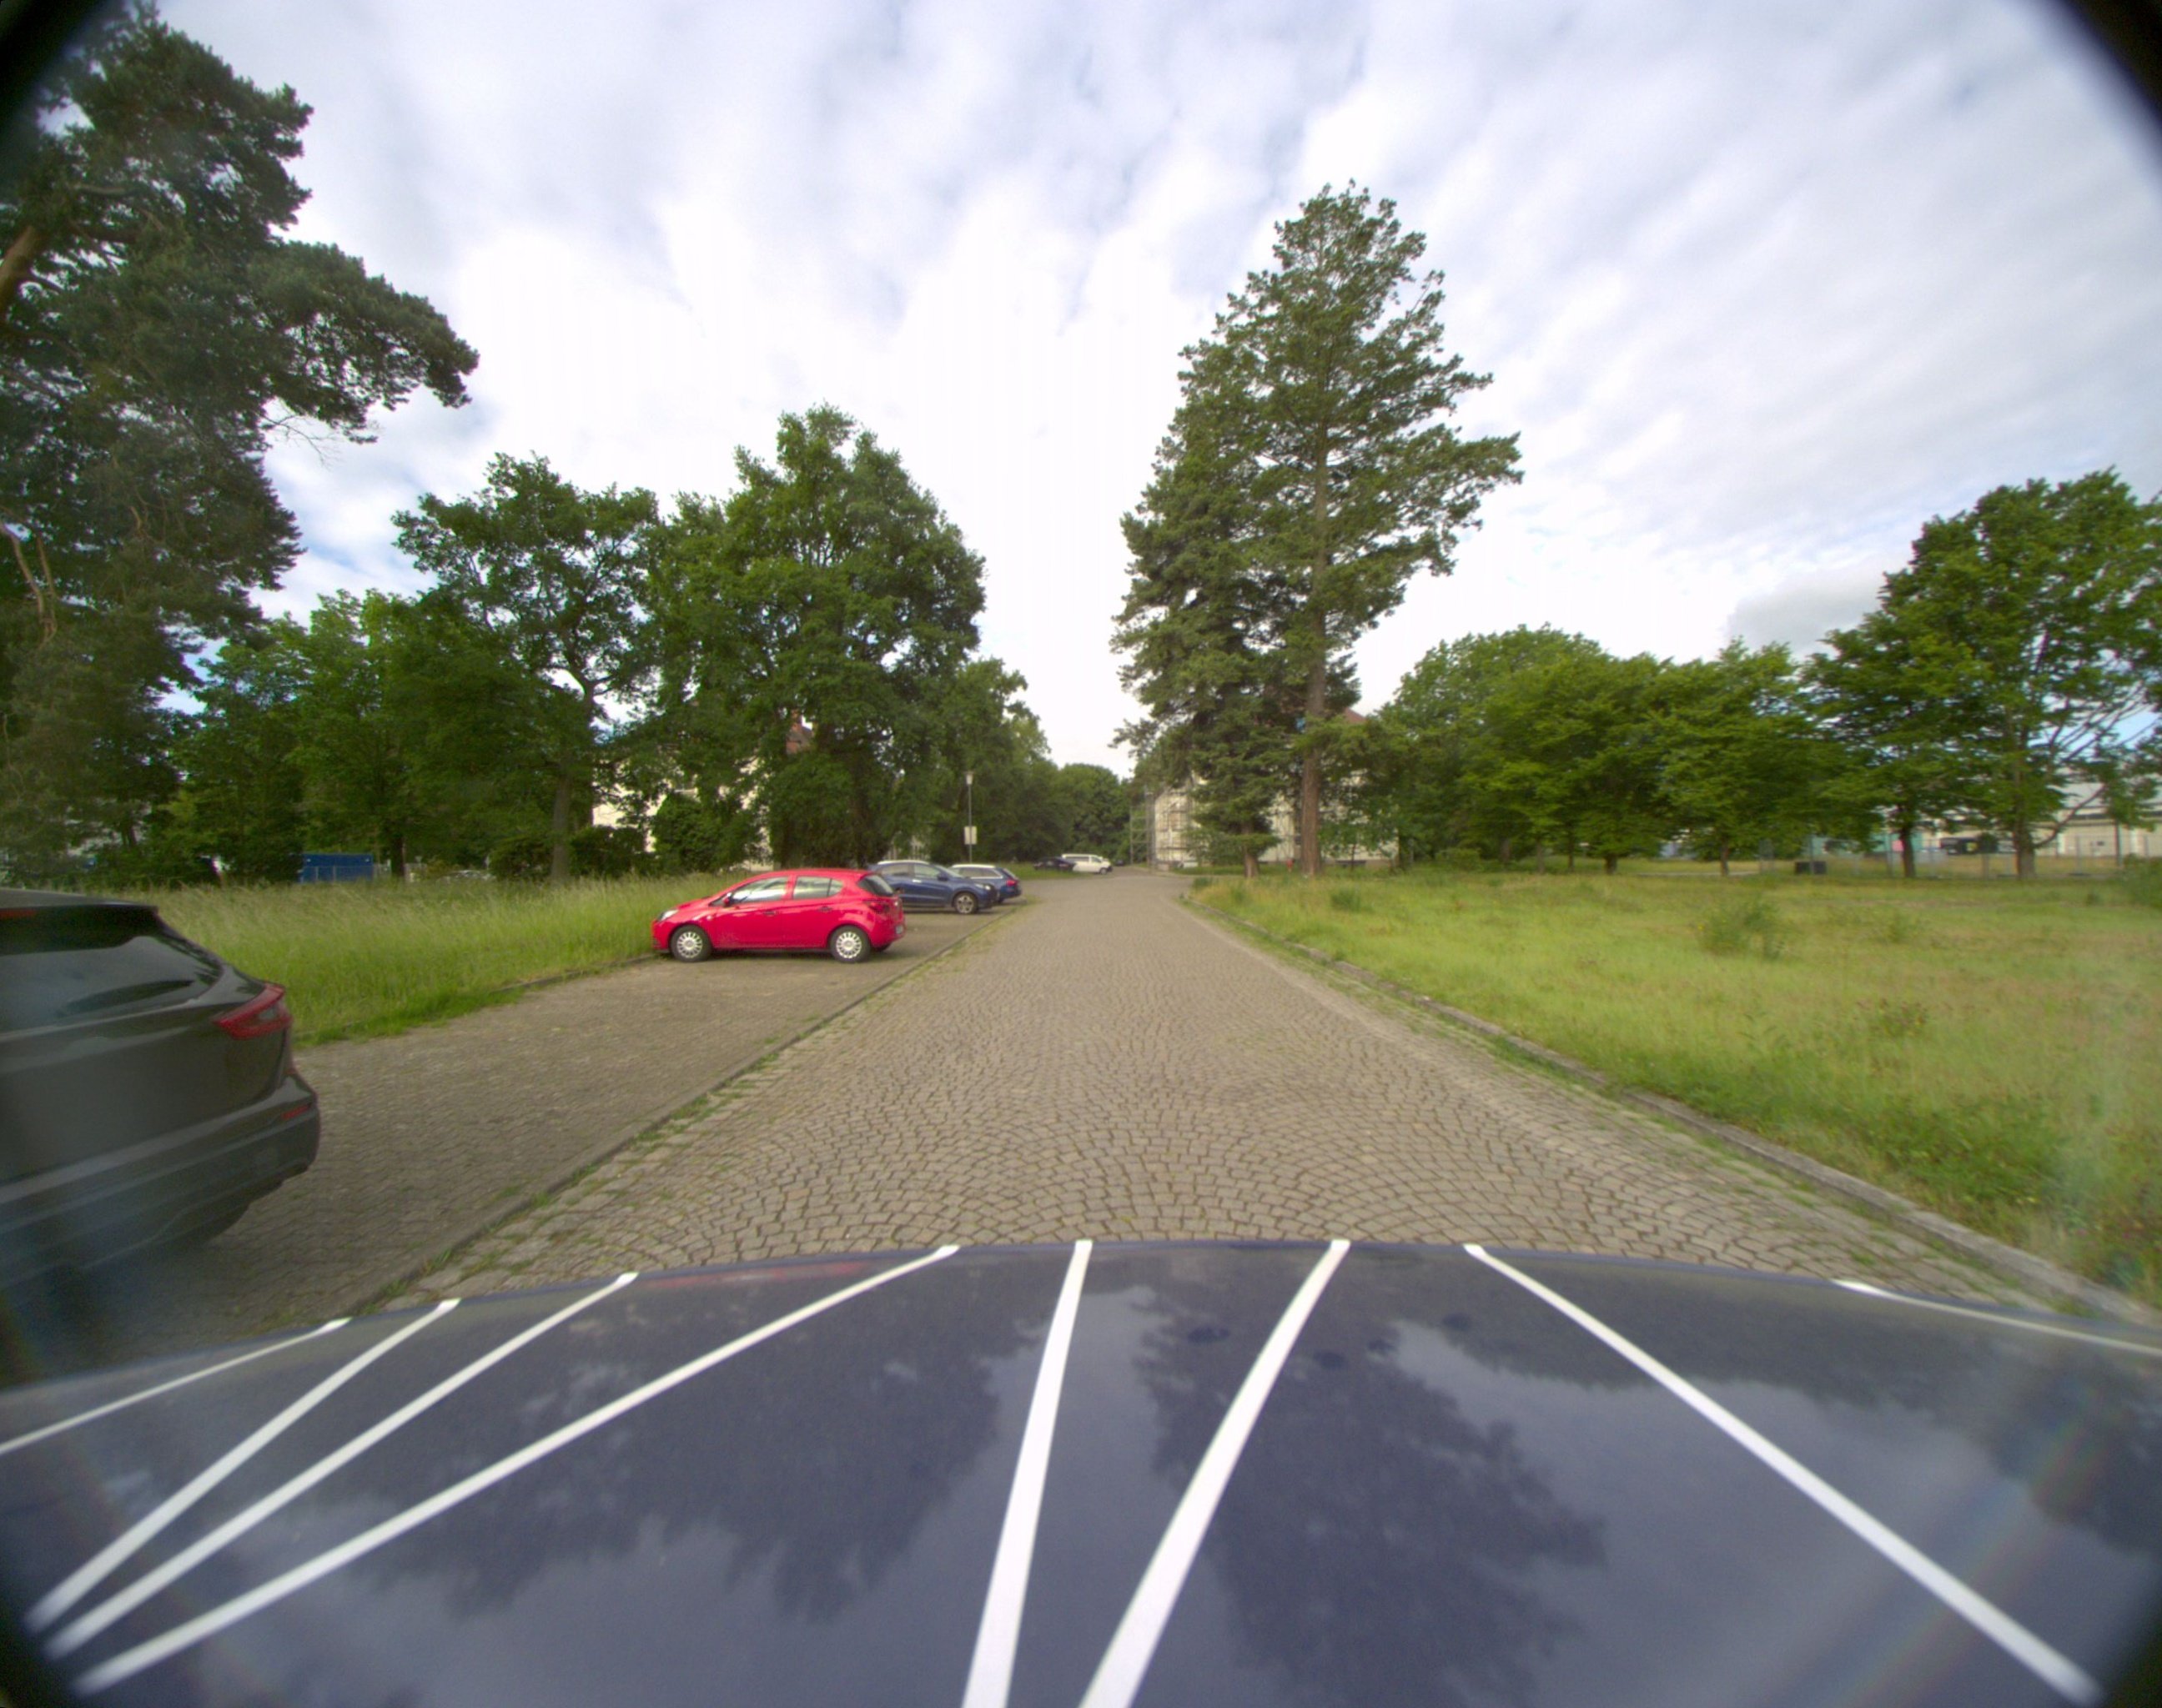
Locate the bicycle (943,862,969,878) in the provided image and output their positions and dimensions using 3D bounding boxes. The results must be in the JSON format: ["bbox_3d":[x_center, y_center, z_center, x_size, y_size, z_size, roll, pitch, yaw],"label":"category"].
[{"bbox_3d":[-9.947,1.292,60.643,1.941,1.163,0.487,-3,1,-21],"label":"bicycle"}]

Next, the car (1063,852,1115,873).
[{"bbox_3d":[0.809,0.819,76.382,5.149,2.002,2.000,0,1,1],"label":"car"}]

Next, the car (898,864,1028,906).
[{"bbox_3d":[-4.223,1.103,27.673,4.367,1.430,1.927,0,0,3],"label":"car"}]

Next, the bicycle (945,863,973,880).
[{"bbox_3d":[-8.997,1.276,56.164,1.942,1.163,0.487,-3,1,-26],"label":"bicycle"}]

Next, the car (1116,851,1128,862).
[{"bbox_3d":[7.727,0.500,142.668,1.962,2.002,4.260,0,0,0],"label":"car"}]

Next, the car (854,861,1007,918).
[{"bbox_3d":[-4.448,1.031,22.934,4.255,1.613,1.886,0,0,0],"label":"car"}]

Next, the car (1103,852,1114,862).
[{"bbox_3d":[5.186,0.547,142.481,1.962,2.002,4.260,0,0,0],"label":"car"}]

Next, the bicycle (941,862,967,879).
[{"bbox_3d":[-10.031,1.299,60.031,1.941,1.163,0.487,-3,1,-21],"label":"bicycle"}]

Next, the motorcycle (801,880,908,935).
[{"bbox_3d":[-5.079,1.190,17.138,2.236,1.195,0.568,0,0,-1],"label":"motorcycle"}]

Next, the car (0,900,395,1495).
[{"bbox_3d":[-5.124,0.997,2.333,4.214,1.585,1.953,0,0,-1],"label":"car"}]

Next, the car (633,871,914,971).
[{"bbox_3d":[-4.942,1.053,12.638,3.933,1.488,1.785,0,0,0],"label":"car"}]
